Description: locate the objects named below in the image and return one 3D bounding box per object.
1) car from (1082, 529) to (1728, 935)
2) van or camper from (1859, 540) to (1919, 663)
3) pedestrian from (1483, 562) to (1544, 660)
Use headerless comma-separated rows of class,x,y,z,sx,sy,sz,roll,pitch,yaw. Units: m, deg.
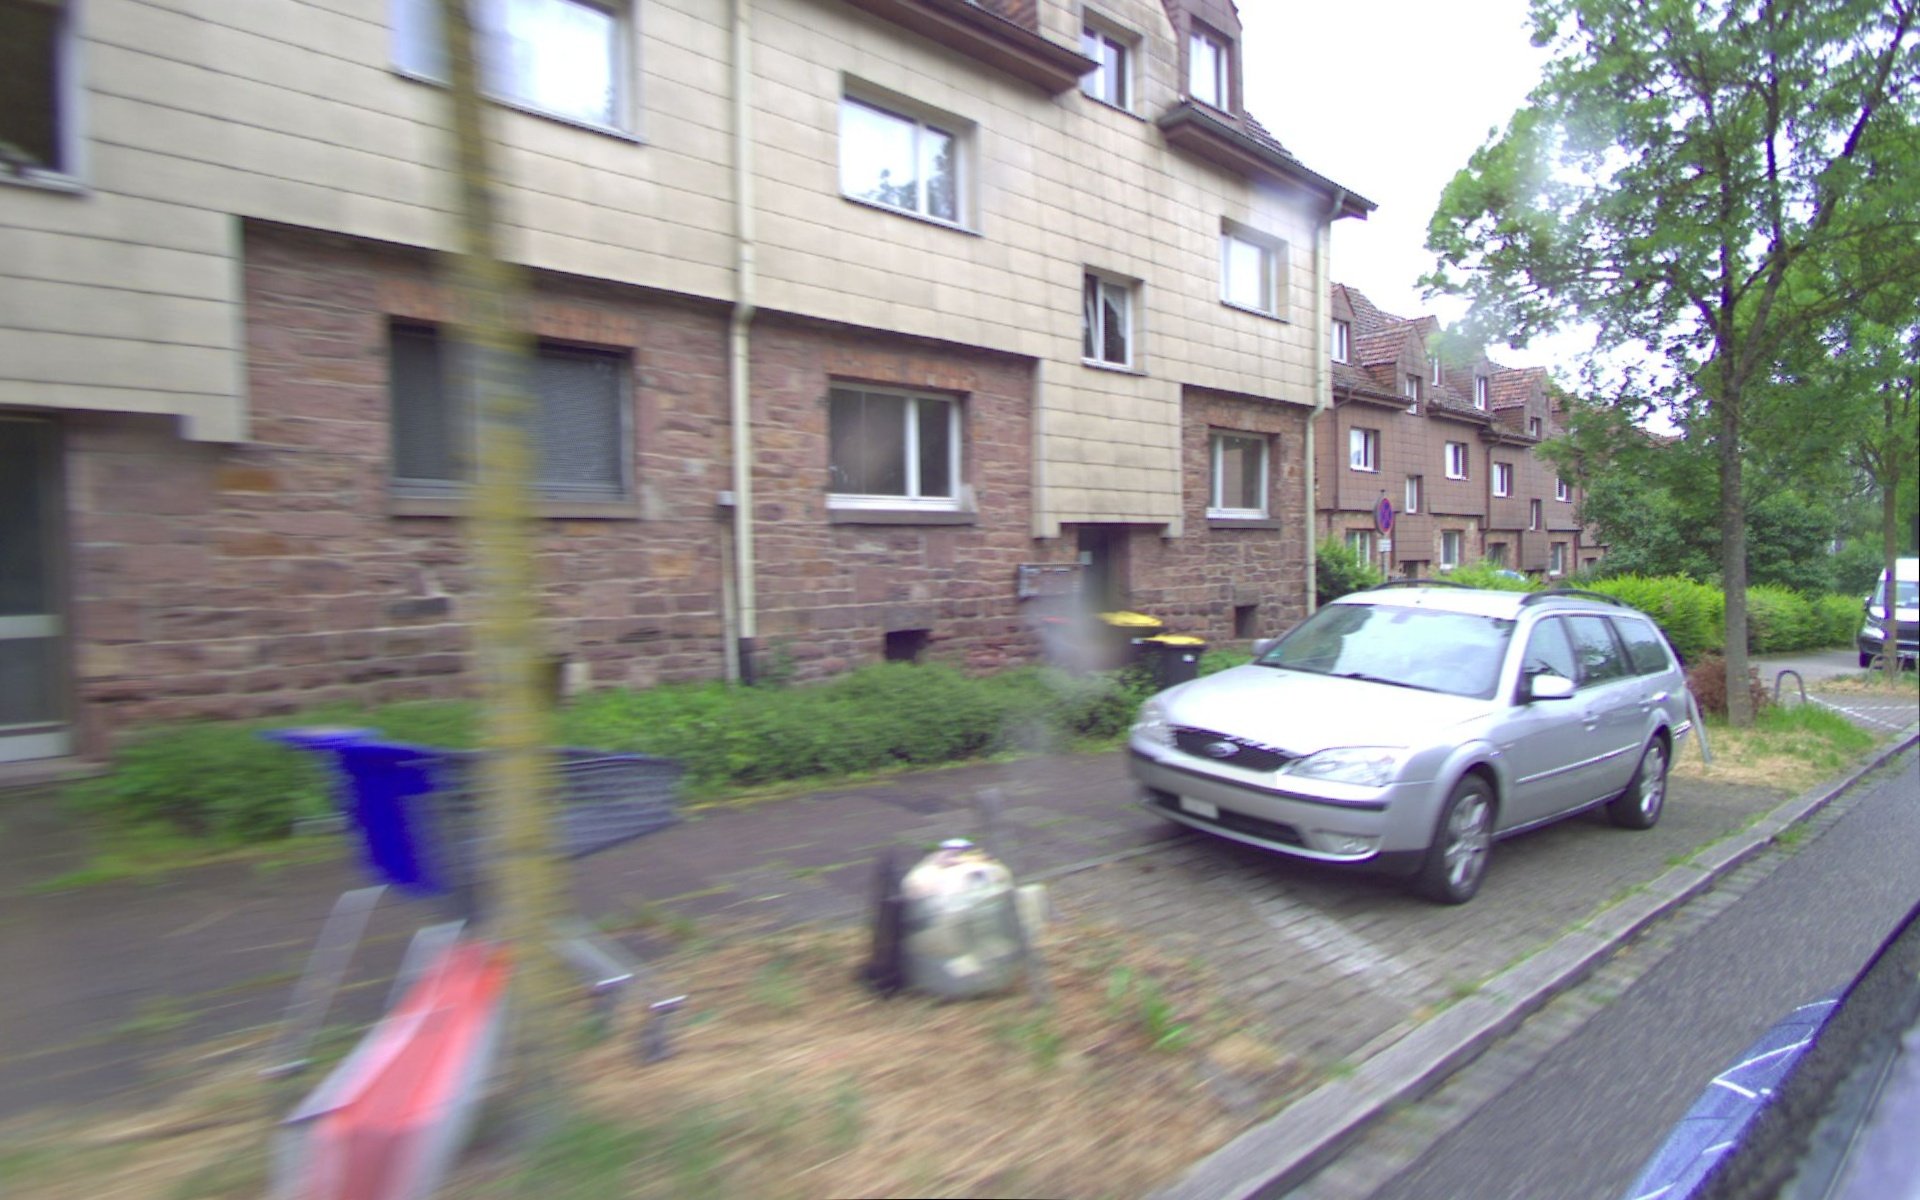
car,2.987,0.532,6.230,4.559,1.603,1.706,1,4,-40
van or camper,23.842,0.092,24.383,7.172,2.684,2.203,1,2,-41
pedestrian,9.930,0.185,18.164,0.641,1.700,0.710,1,1,-35
